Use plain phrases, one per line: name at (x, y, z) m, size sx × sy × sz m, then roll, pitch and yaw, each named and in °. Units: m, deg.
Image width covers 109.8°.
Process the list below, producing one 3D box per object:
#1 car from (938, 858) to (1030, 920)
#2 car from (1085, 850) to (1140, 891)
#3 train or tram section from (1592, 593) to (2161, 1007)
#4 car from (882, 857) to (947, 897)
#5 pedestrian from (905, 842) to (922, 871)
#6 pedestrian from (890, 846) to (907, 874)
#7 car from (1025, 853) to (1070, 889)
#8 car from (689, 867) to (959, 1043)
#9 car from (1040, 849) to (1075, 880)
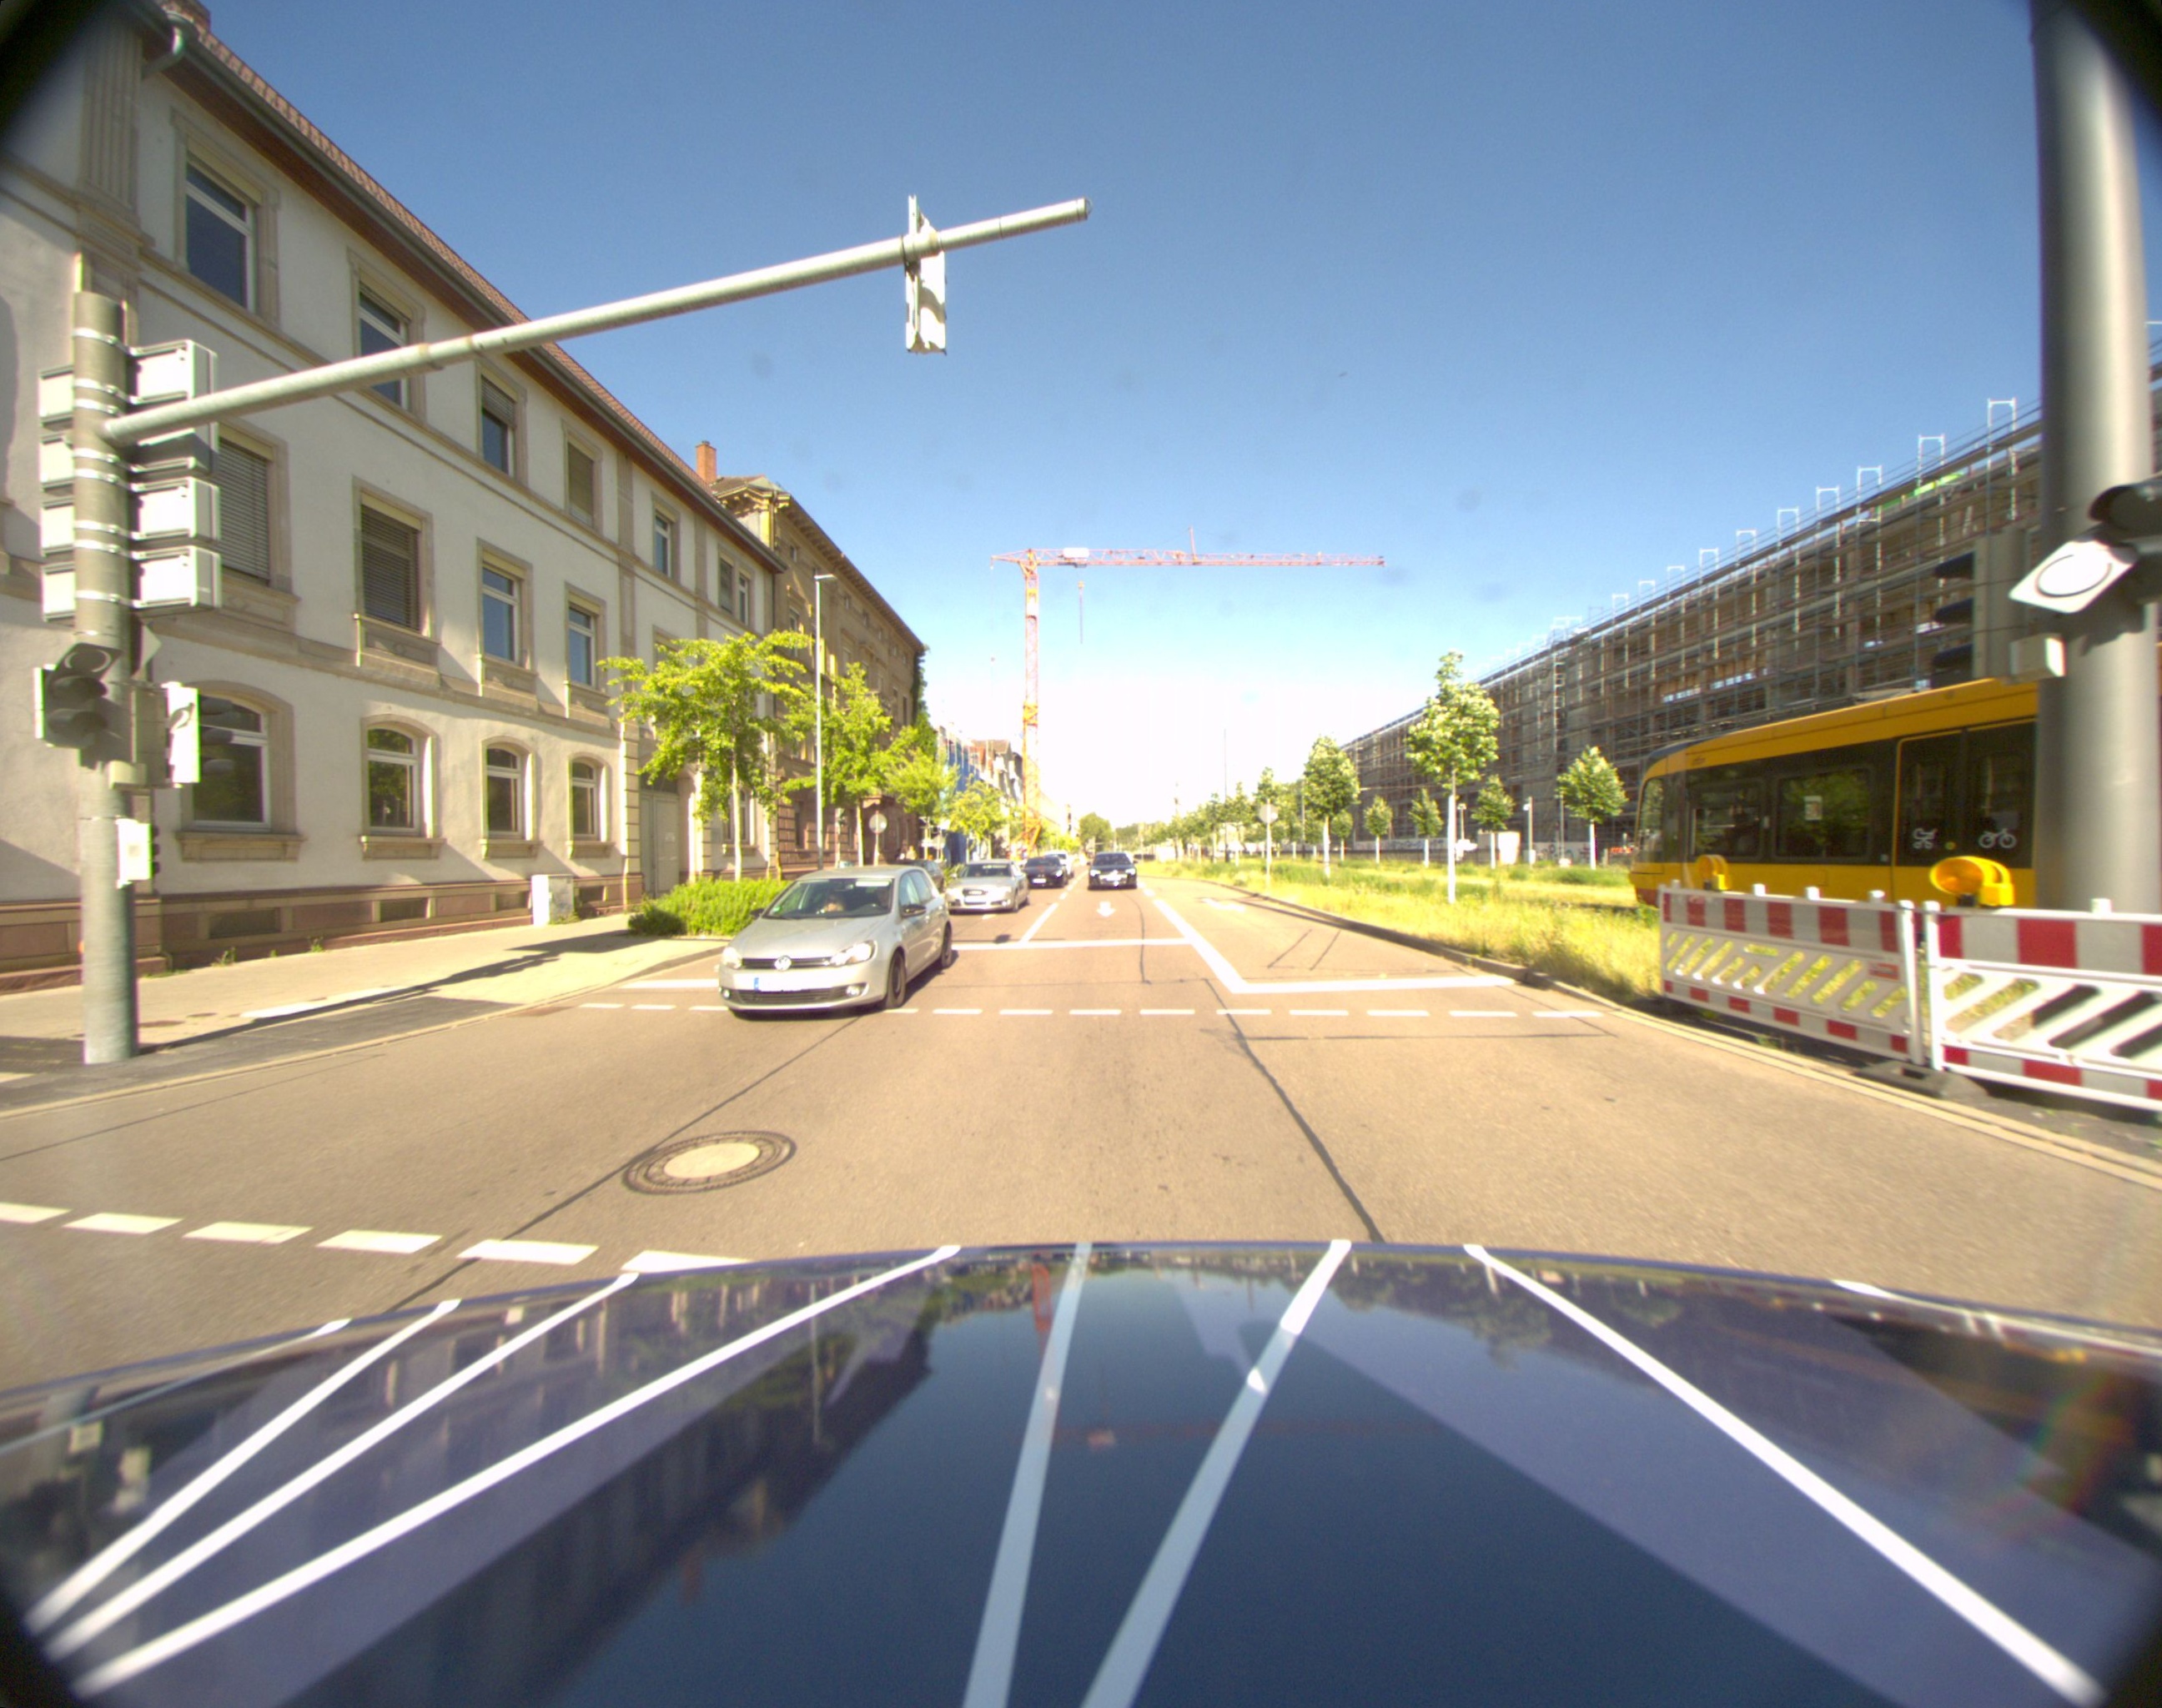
car at (-2.535, 0.874, 20.746) m, size 1.839 × 1.416 × 4.000 m, roll -2°, pitch 1°, yaw 2°
car at (1.212, 0.621, 30.657) m, size 1.999 × 1.493 × 3.999 m, roll -1°, pitch 1°, yaw 0°
train or tram section at (10.665, -0.520, 8.060) m, size 1.998 × 3.648 × 14.155 m, roll -2°, pitch 1°, yaw 5°
car at (-6.662, 0.891, 30.785) m, size 1.609 × 1.435 × 4.000 m, roll 0°, pitch 1°, yaw 2°
pedestrian at (-9.270, 0.139, 41.979) m, size 0.669 × 1.552 × 0.906 m, roll -2°, pitch 1°, yaw 0°
pedestrian at (-10.037, 0.321, 41.894) m, size 0.669 × 1.552 × 0.906 m, roll -2°, pitch 1°, yaw 0°
car at (-1.449, 0.726, 34.077) m, size 1.703 × 1.416 × 4.000 m, roll -2°, pitch 1°, yaw 2°
car at (-2.702, 0.975, 9.033) m, size 1.703 × 1.466 × 4.000 m, roll -2°, pitch 1°, yaw 2°
car at (-1.311, 0.556, 44.074) m, size 1.703 × 1.622 × 4.000 m, roll -2°, pitch 1°, yaw 2°
